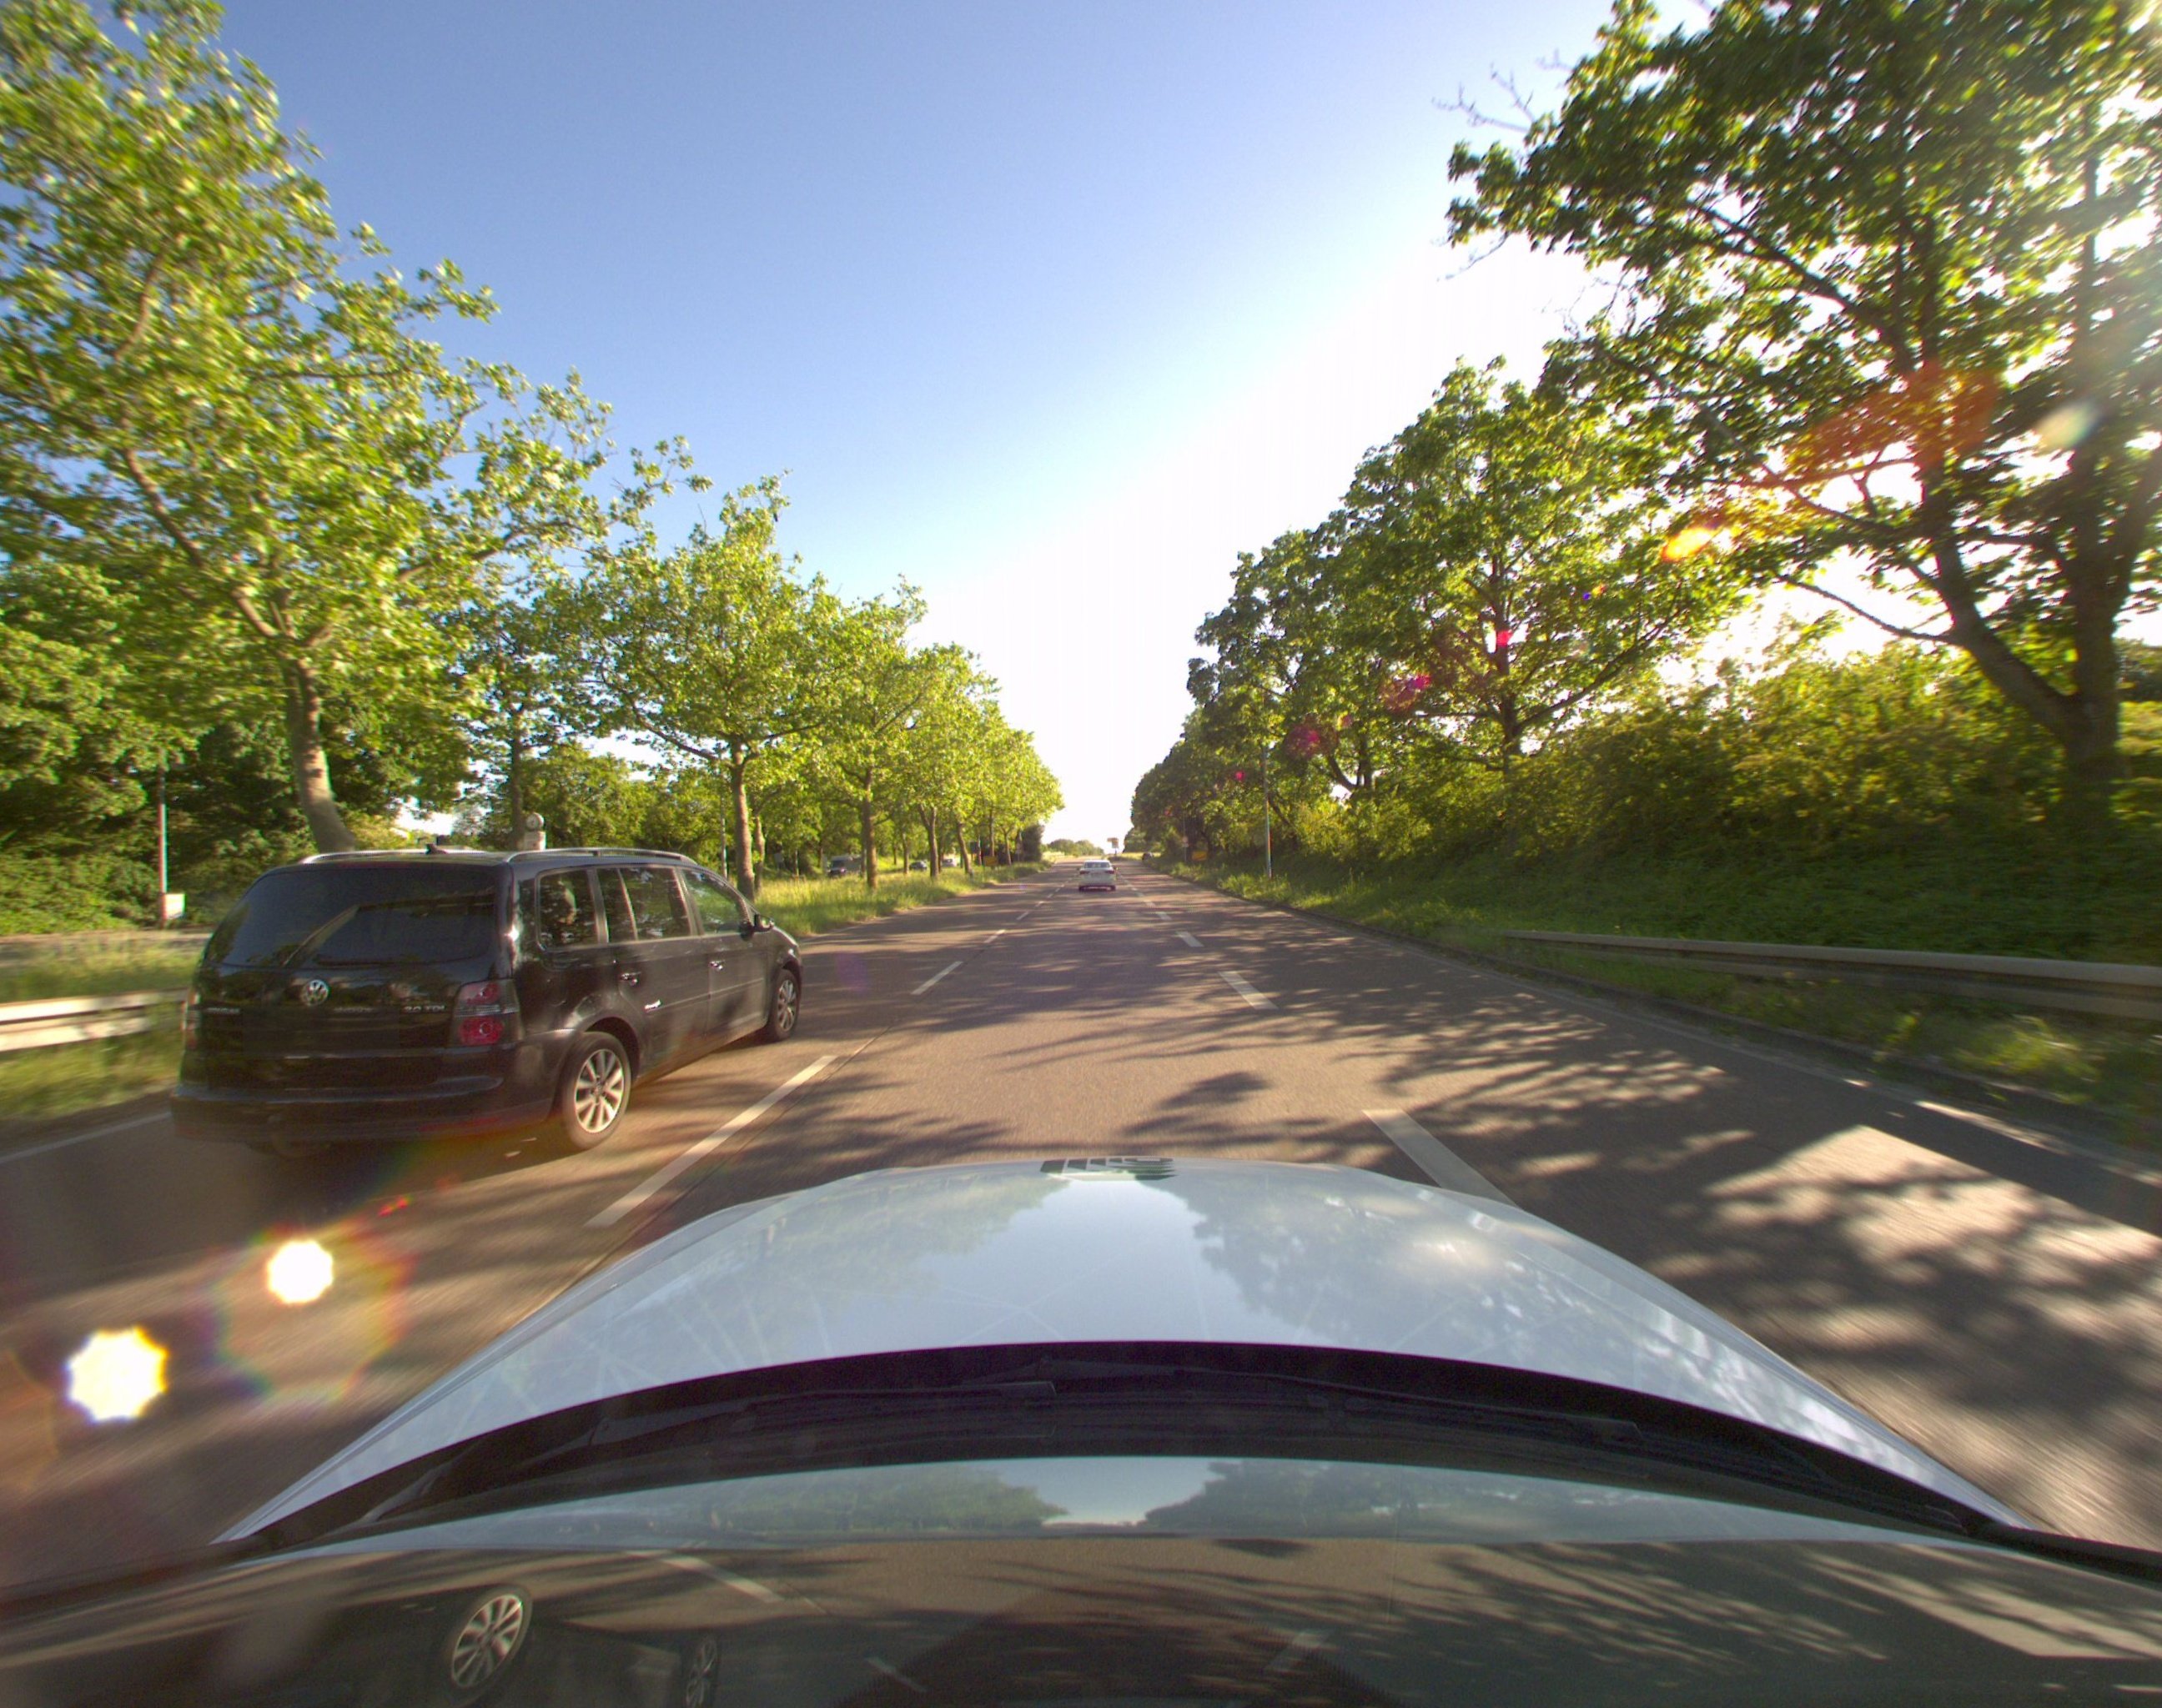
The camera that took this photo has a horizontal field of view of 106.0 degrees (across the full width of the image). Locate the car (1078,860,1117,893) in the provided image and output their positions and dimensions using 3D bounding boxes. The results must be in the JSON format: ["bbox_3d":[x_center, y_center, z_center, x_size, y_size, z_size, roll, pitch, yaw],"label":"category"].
[{"bbox_3d":[0.755,1.075,39.858,1.762,1.464,4.365,-2,0,0],"label":"car"}]

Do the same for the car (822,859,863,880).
[{"bbox_3d":[-22.845,1.457,78.287,2.127,1.902,5.743,-2,0,1],"label":"car"}]

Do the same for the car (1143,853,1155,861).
[{"bbox_3d":[13.524,0.544,162.482,1.755,1.464,4.382,-2,0,13],"label":"car"}]

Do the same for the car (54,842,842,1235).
[{"bbox_3d":[-3.413,0.815,5.922,1.761,1.644,4.924,-1,-1,2],"label":"car"}]

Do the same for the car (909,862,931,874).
[{"bbox_3d":[-21.033,1.875,106.537,1.761,1.464,4.367,-2,0,1],"label":"car"}]

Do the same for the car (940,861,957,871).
[{"bbox_3d":[-20.152,1.769,124.301,1.761,1.464,4.367,-2,0,1],"label":"car"}]
